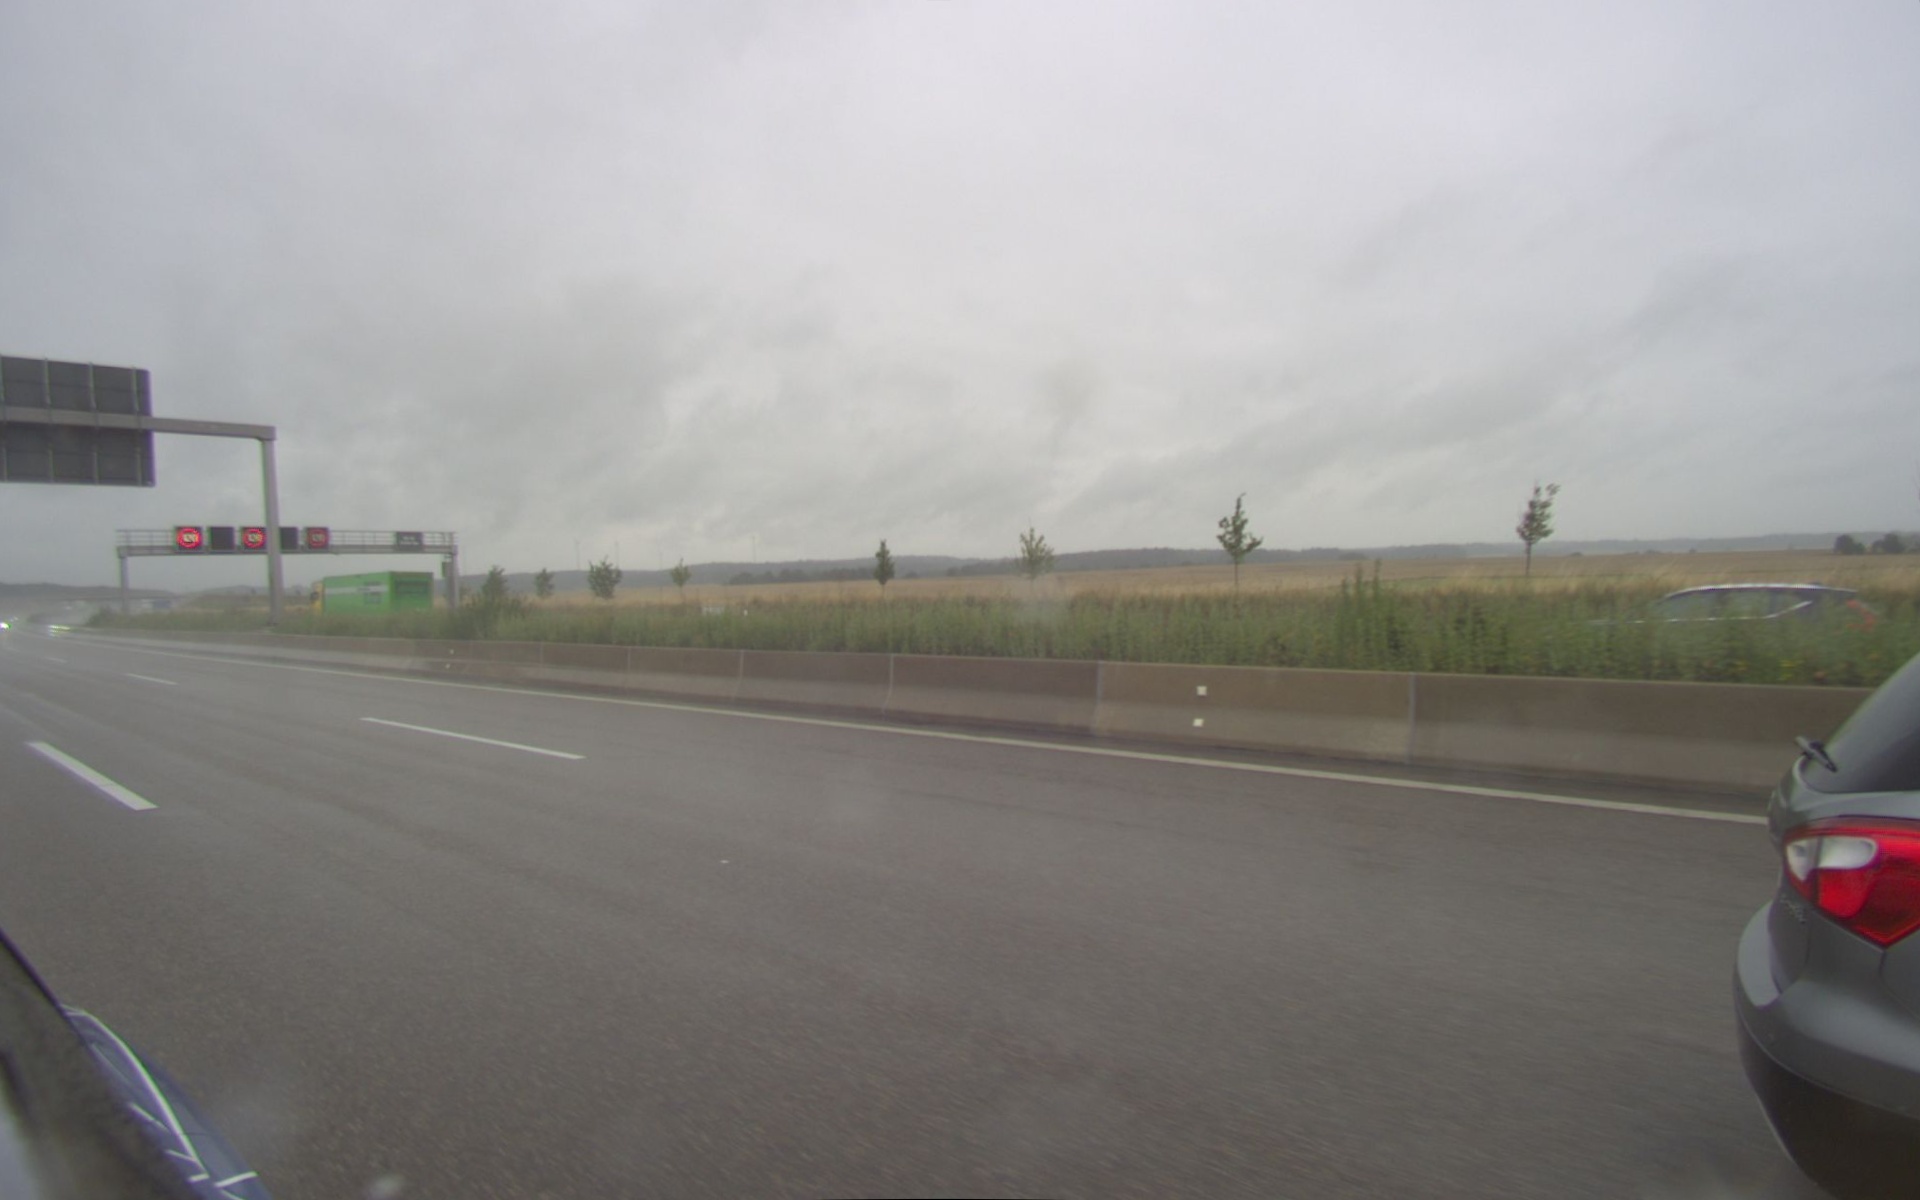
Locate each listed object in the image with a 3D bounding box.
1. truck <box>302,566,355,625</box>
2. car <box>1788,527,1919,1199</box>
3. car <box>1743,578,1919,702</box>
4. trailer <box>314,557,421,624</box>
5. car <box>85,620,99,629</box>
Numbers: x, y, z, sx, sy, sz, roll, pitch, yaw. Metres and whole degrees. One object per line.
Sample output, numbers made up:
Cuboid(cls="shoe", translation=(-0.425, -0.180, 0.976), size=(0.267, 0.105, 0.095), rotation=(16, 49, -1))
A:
Cuboid(cls="truck", translation=(-44.869, -0.289, 71.905), size=(4.819, 4.021, 1.988), rotation=(-1, -1, 43))
Cuboid(cls="car", translation=(3.939, 0.613, 1.012), size=(4.755, 1.524, 1.827), rotation=(0, 0, 42))
Cuboid(cls="car", translation=(12.746, 0.493, 13.420), size=(3.623, 1.564, 1.822), rotation=(-1, 0, 41))
Cuboid(cls="trailer", translation=(-39.245, -0.459, 66.673), size=(14.301, 4.070, 1.972), rotation=(-1, -1, 43))
Cuboid(cls="car", translation=(-154.465, 4.337, 180.102), size=(1.675, 1.497, 4.002), rotation=(-1, -1, -45))
